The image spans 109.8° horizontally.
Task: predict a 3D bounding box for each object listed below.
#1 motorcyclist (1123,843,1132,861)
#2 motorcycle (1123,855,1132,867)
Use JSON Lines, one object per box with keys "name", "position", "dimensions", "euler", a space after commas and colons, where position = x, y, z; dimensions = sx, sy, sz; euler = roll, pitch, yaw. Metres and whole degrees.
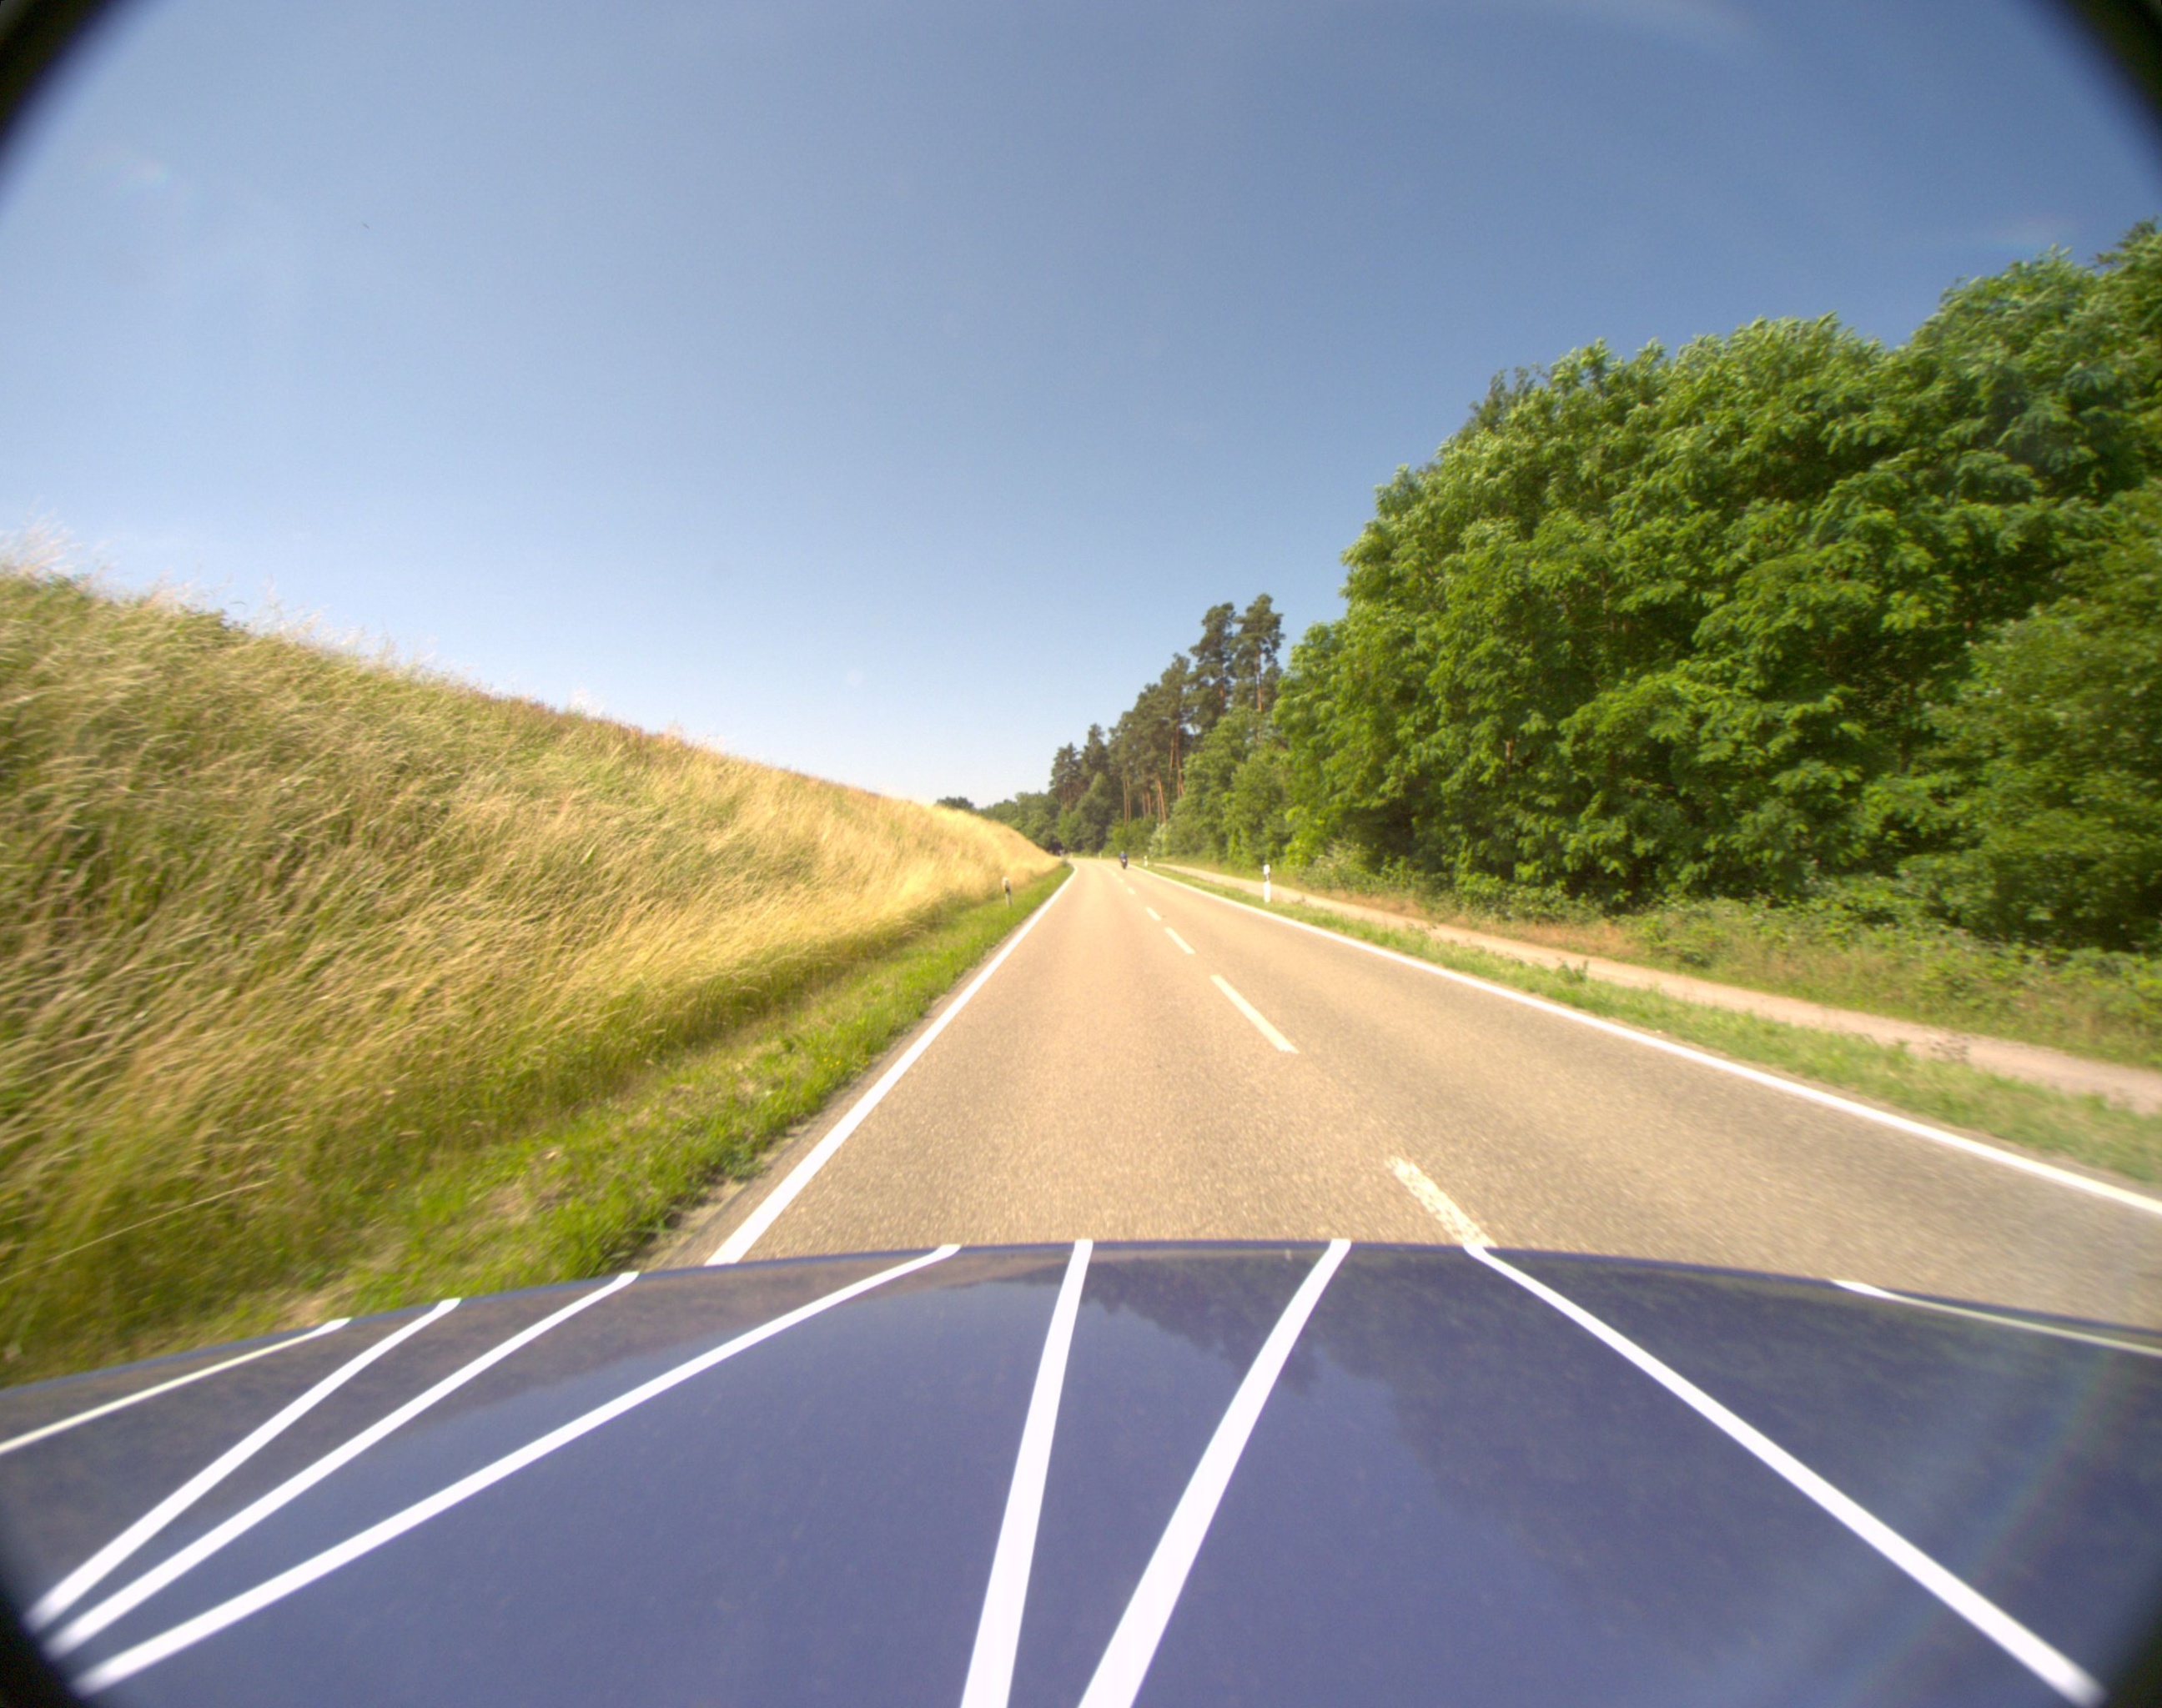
{"name": "motorcyclist", "position": [4.165, -0.181, 67.631], "dimensions": [0.661, 1.519, 0.813], "euler": [2, 1, -1]}
{"name": "motorcycle", "position": [4.115, 0.622, 67.674], "dimensions": [0.640, 0.979, 2.006], "euler": [2, 1, 0]}
